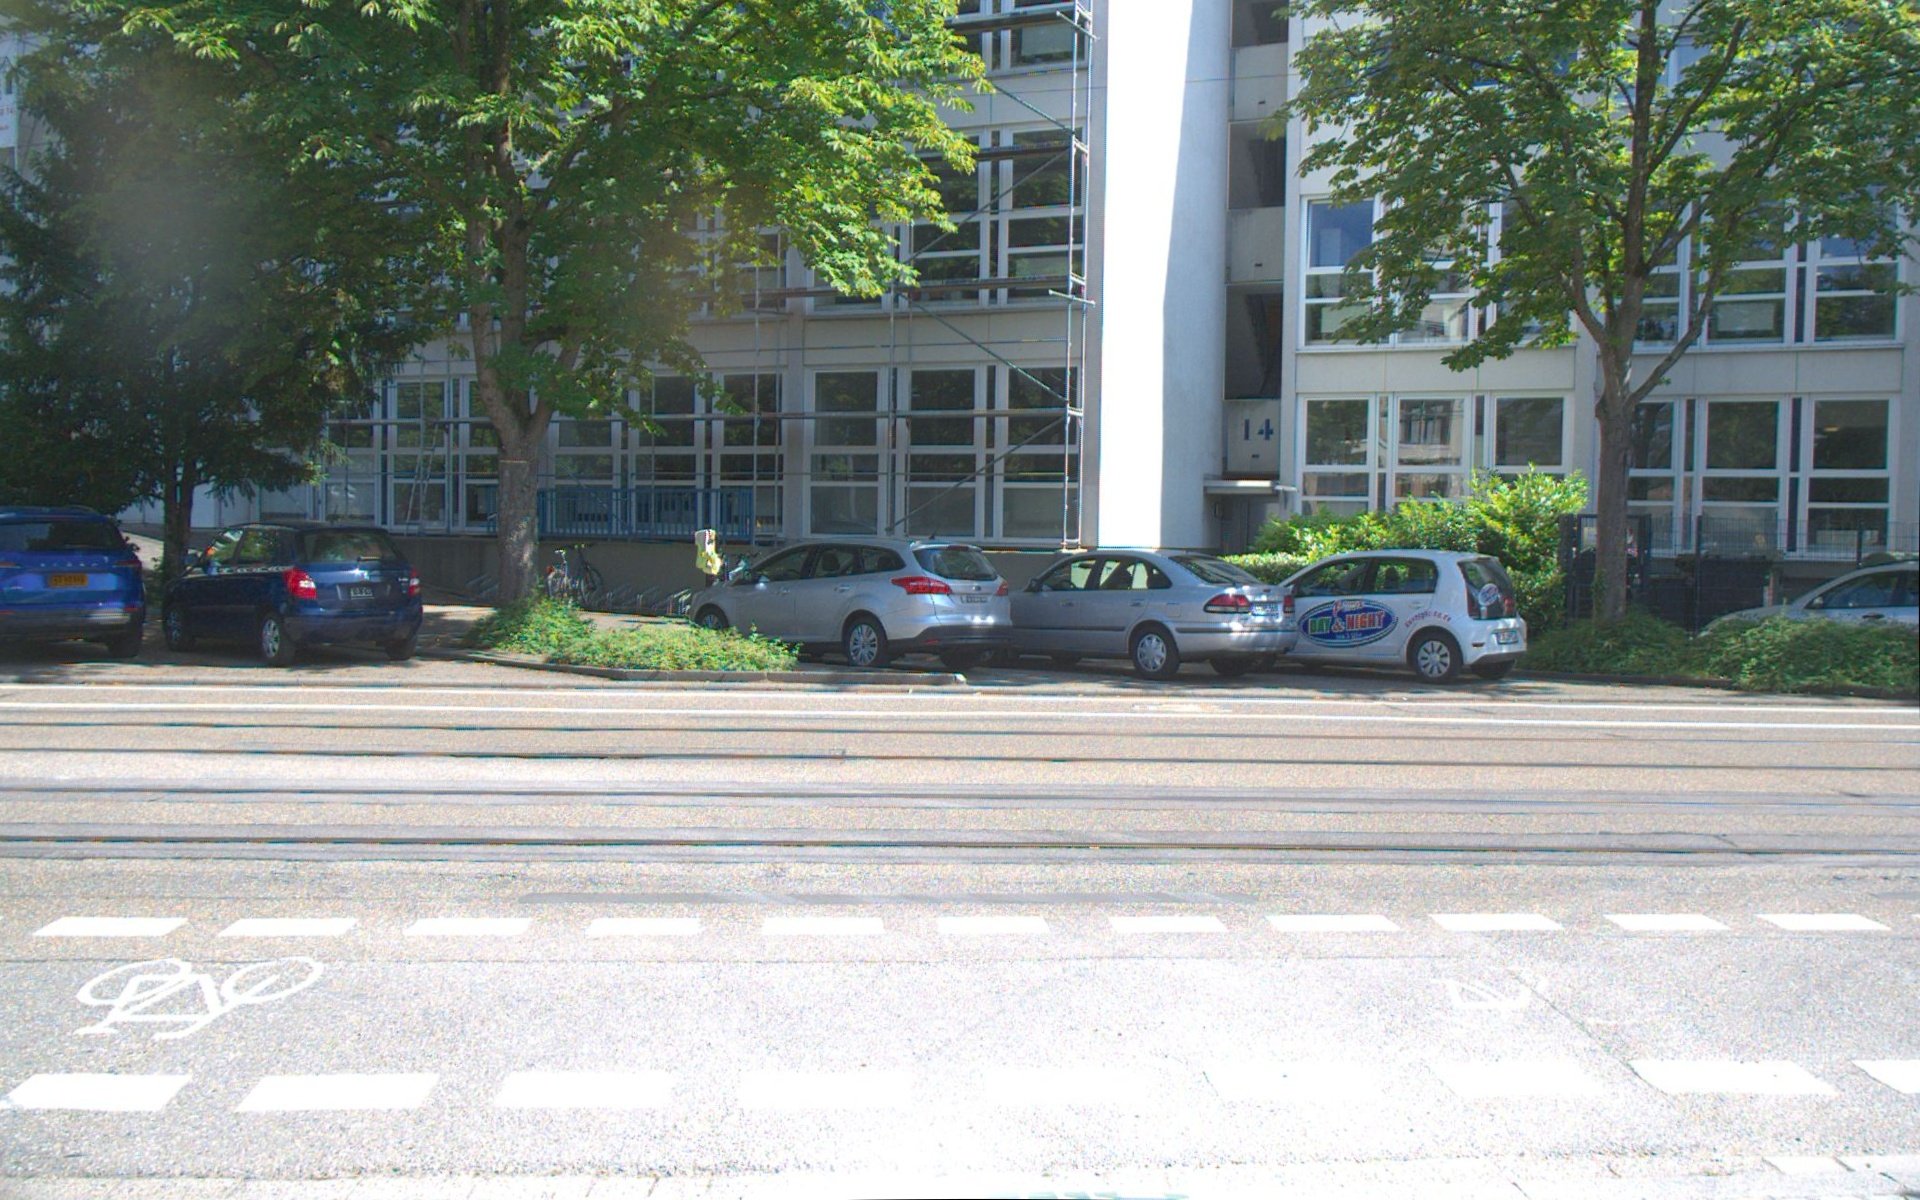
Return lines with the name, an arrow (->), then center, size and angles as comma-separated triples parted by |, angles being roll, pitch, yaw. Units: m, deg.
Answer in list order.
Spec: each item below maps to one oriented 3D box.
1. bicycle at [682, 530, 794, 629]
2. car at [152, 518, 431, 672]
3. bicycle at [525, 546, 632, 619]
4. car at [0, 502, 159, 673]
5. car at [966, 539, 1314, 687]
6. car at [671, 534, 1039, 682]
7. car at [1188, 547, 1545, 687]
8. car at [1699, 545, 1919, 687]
bicycle -> -3.442, -0.333, 25.837 | 0.648, 1.478, 2.088 | 2, 2, 27
car -> -7.544, -0.123, 18.545 | 3.396, 1.557, 1.567 | 3, 3, 42
bicycle -> -6.093, -0.307, 26.577 | 0.725, 1.104, 2.205 | 1, 2, 15
car -> -10.502, -0.231, 18.400 | 1.767, 1.650, 3.883 | -2, 5, -44
car -> 2.018, 0.074, 19.328 | 3.878, 1.511, 1.602 | 3, 3, 44
car -> -1.325, 0.011, 19.406 | 4.356, 1.511, 1.774 | 3, 3, 42
car -> 4.770, 0.130, 19.735 | 3.876, 1.512, 1.603 | 1, 2, 43
car -> 11.450, 0.190, 20.066 | 4.262, 1.632, 1.551 | 2, 2, 39
